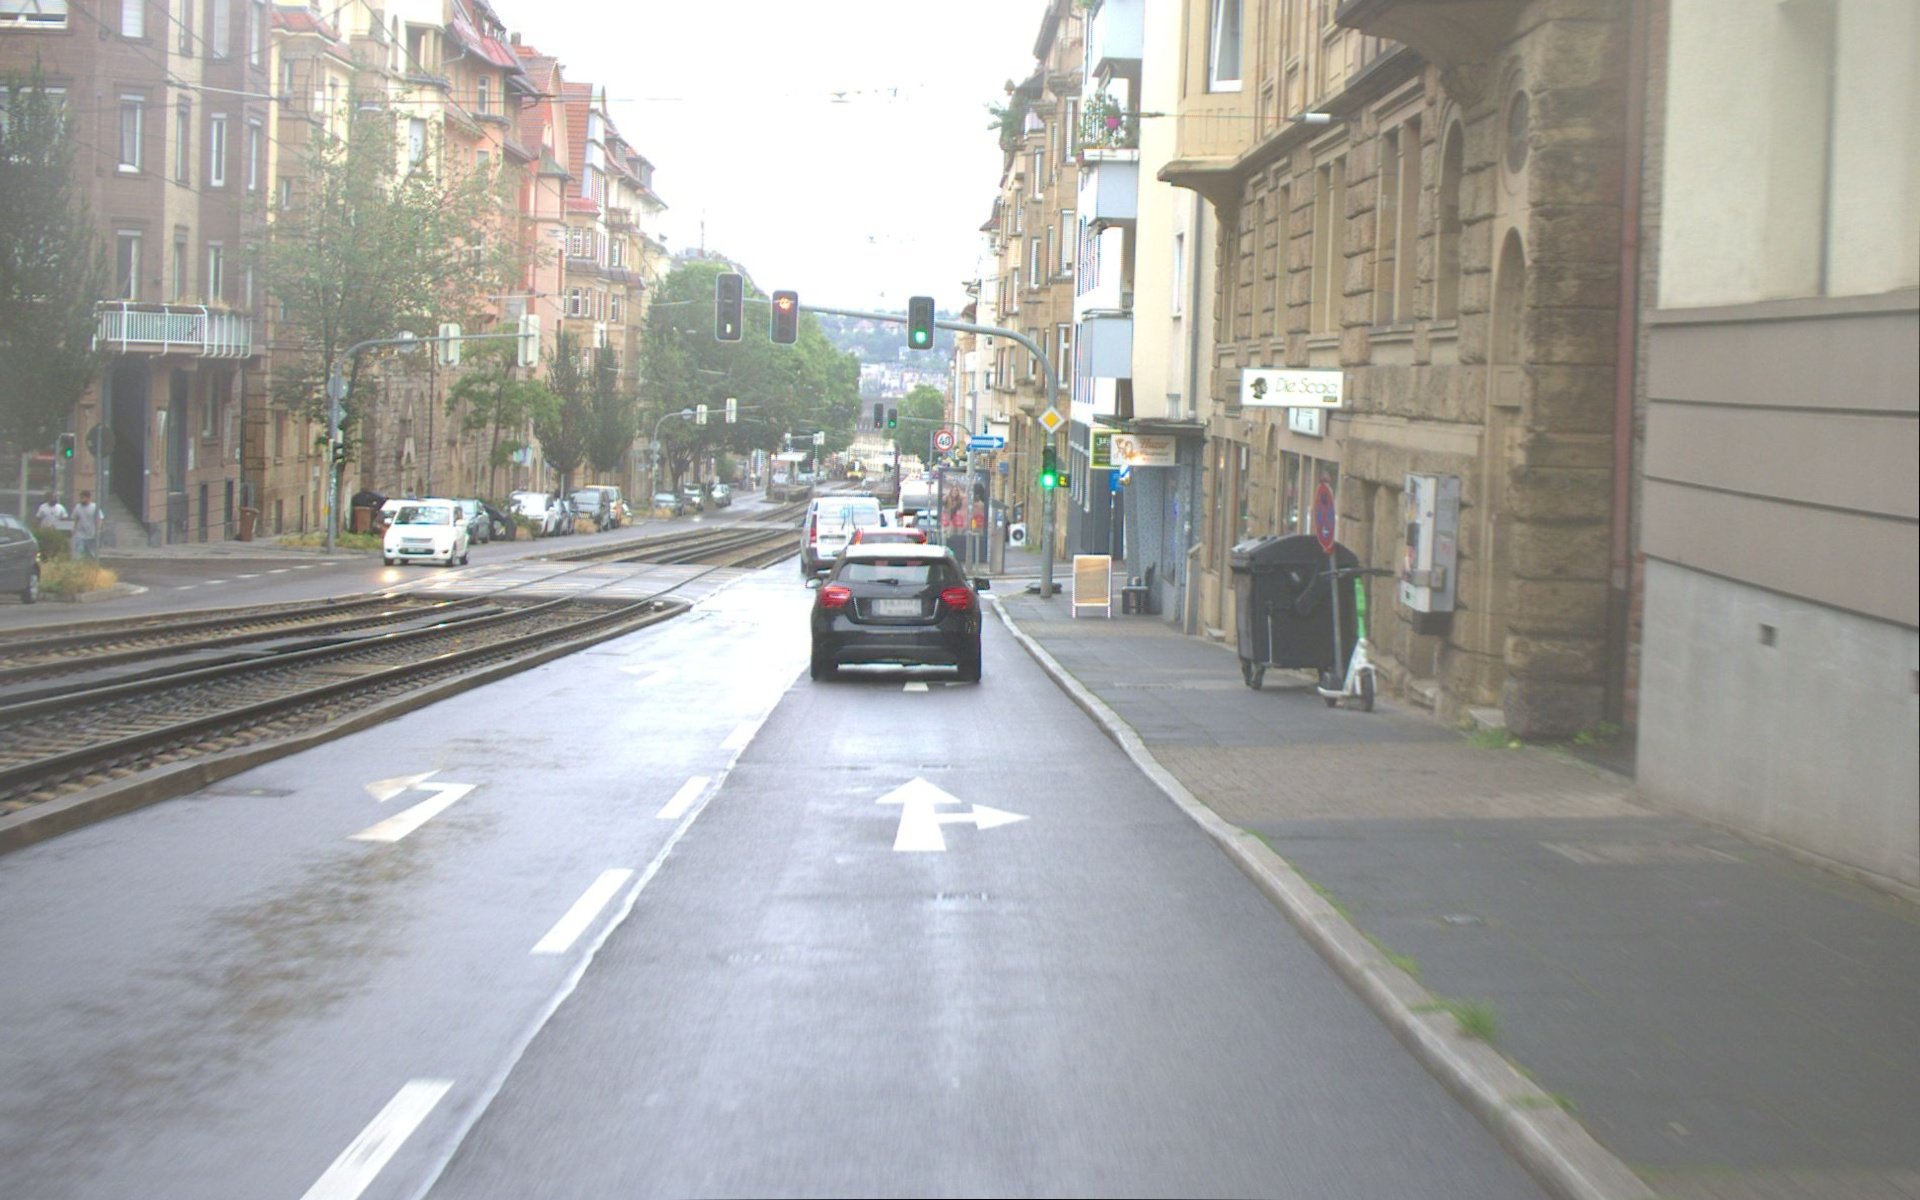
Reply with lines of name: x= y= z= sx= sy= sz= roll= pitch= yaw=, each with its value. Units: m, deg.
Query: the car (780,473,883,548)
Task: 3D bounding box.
car: x=-3.073 y=-2.145 z=81.663 sx=1.921 sy=1.649 sz=4.001 roll=2 pitch=2 yaw=-9

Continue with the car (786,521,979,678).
car: x=-0.839 y=-0.047 z=36.733 sx=1.946 sy=1.559 sz=3.643 roll=1 pitch=1 yaw=-2

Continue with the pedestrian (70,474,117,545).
pedestrian: x=-17.431 y=-1.822 z=69.136 sx=0.754 sy=1.417 sz=0.645 roll=1 pitch=1 yaw=1

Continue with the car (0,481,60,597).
car: x=-15.709 y=-1.005 z=54.155 sx=1.886 sy=1.722 sz=3.740 roll=4 pitch=2 yaw=2

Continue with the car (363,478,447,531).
car: x=-16.091 y=-2.775 z=99.880 sx=1.765 sy=1.481 sz=4.000 roll=1 pitch=1 yaw=0

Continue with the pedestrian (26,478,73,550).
pedestrian: x=-18.280 y=-1.731 z=69.014 sx=0.754 sy=1.417 sz=0.645 roll=1 pitch=1 yaw=1

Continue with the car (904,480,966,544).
car: x=-0.747 y=-2.661 z=102.813 sx=1.768 sy=1.801 sz=4.483 roll=2 pitch=2 yaw=-1

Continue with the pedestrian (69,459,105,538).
pedestrian: x=-17.576 y=-2.040 z=69.185 sx=0.517 sy=1.565 sz=0.643 roll=1 pitch=1 yaw=4

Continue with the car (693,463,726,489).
car: x=-17.612 y=-8.746 z=242.239 sx=1.993 sy=1.787 sz=4.001 roll=2 pitch=2 yaw=0

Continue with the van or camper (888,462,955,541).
van or camper: x=-1.229 y=-3.190 z=111.272 sx=2.064 sy=2.460 sz=6.119 roll=1 pitch=2 yaw=0

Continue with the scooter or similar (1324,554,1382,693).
scooter or similar: x=3.191 y=0.188 z=27.929 sx=0.209 sy=1.108 sz=0.892 roll=-1 pitch=0 yaw=-10

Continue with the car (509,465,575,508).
car: x=-15.733 y=-4.277 z=129.673 sx=1.785 sy=1.584 sz=4.351 roll=0 pitch=2 yaw=2

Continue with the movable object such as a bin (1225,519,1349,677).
movable object such as a bin: x=3.081 y=-0.035 z=32.521 sx=1.009 sy=1.446 sz=1.393 roll=-1 pitch=2 yaw=0

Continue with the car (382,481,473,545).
car: x=-12.840 y=-2.111 z=83.036 sx=1.627 sy=1.477 sz=3.581 roll=1 pitch=2 yaw=0

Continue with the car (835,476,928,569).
car: x=-1.378 y=-1.413 z=61.609 sx=1.536 sy=1.505 sz=4.001 roll=2 pitch=3 yaw=0
